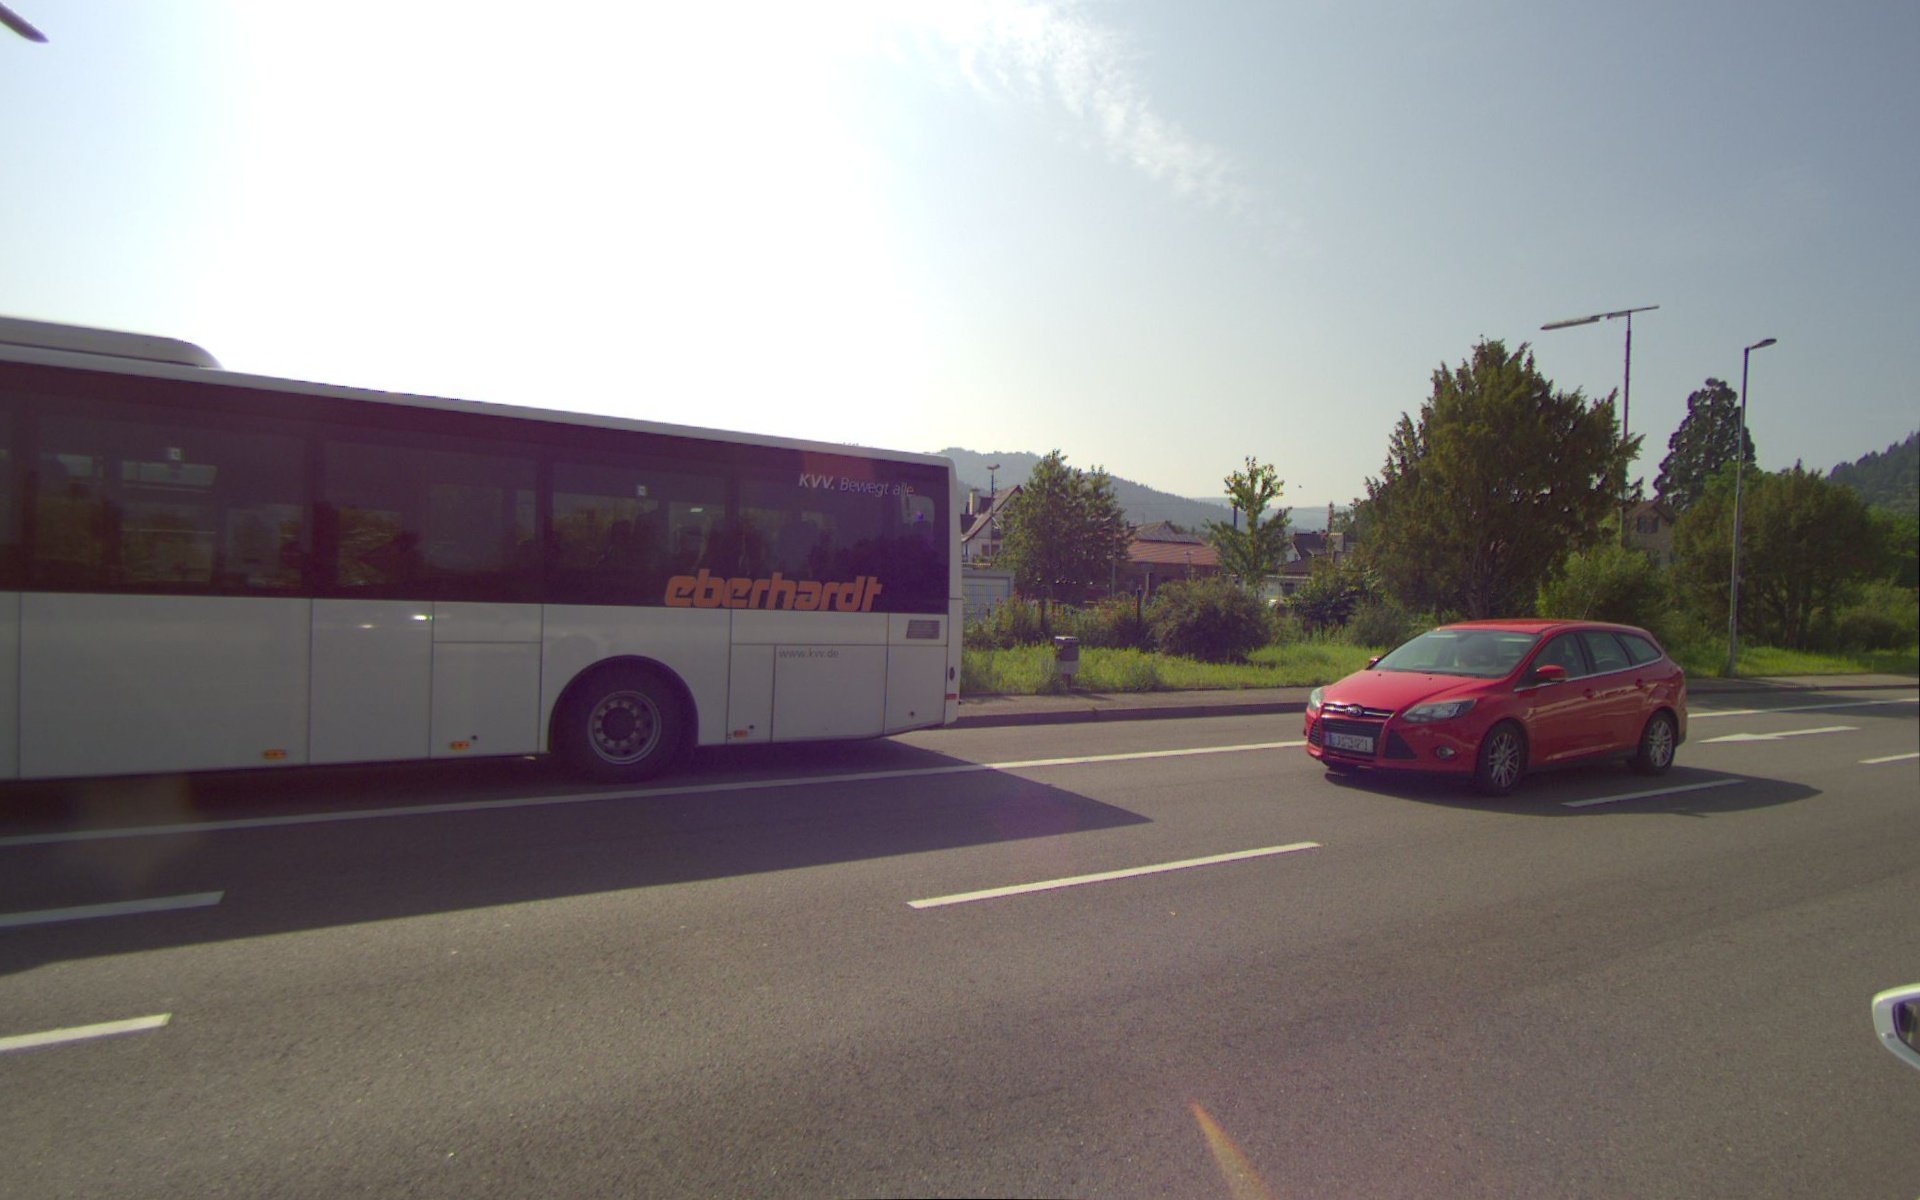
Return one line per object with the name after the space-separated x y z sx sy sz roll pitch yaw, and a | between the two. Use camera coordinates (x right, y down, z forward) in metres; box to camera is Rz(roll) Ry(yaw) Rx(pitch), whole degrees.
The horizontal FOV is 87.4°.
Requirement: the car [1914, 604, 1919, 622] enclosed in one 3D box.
112.650 1.553 117.068 1.788 2.040 3.982 0 0 39 | car

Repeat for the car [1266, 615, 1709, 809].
5.228 0.931 9.809 4.380 1.512 1.828 1 -1 -31 | car

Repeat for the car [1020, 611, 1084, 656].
3.553 1.280 39.428 1.851 1.626 3.998 1 -1 -4 | car

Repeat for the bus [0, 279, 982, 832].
-5.516 -0.241 7.793 11.818 3.354 2.608 1 -1 -31 | bus
